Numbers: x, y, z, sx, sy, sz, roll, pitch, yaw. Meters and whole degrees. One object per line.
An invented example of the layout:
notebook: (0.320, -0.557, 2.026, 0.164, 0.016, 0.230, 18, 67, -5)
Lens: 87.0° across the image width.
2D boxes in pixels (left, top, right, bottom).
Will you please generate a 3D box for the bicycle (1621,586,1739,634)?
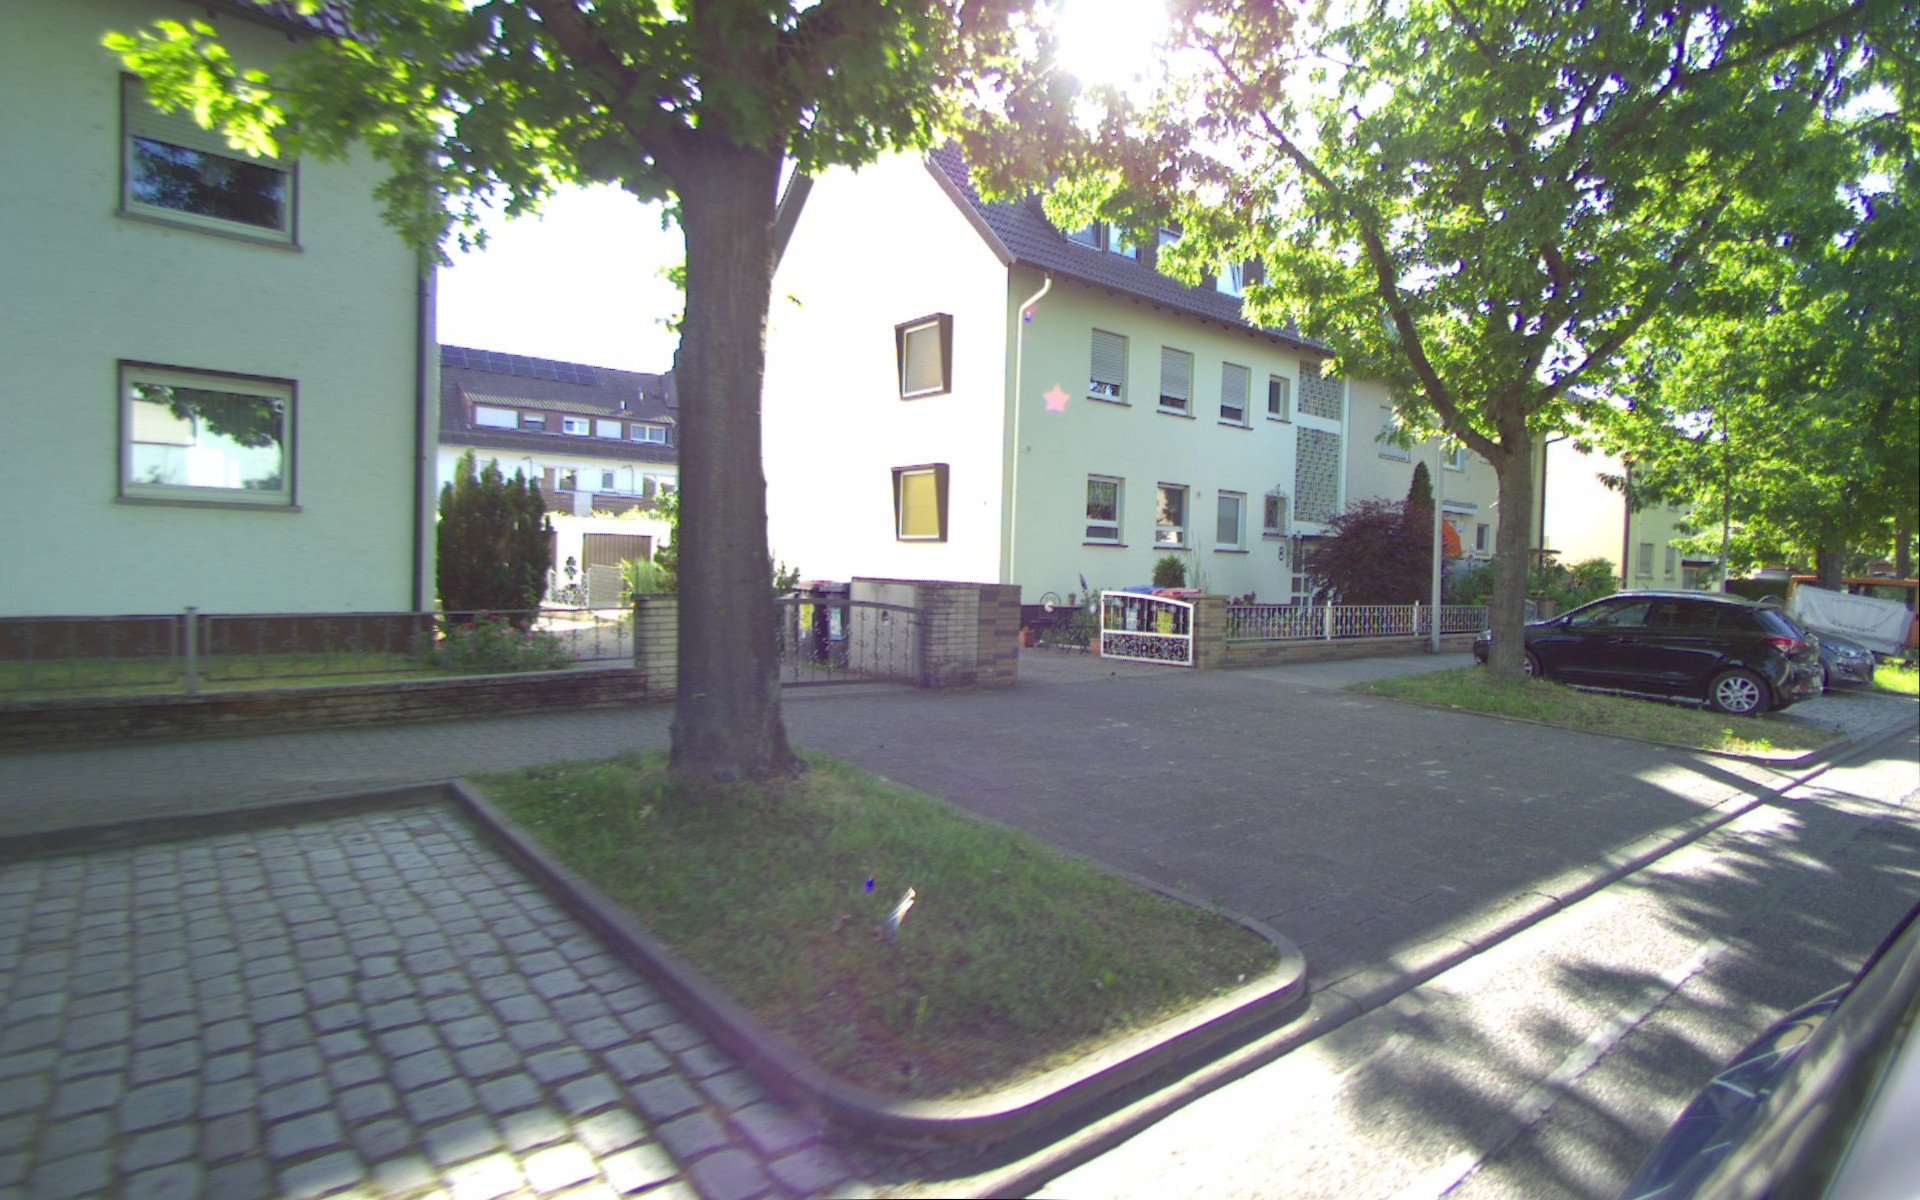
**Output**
bicycle: (21.882, 0.282, 30.838, 0.459, 1.252, 2.868, -1, 4, -37)

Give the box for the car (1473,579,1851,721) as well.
car: (9.337, 0.538, 13.739, 1.631, 1.534, 3.893, -1, 3, -38)

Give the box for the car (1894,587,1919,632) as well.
car: (36.431, 0.464, 36.047, 1.834, 1.579, 4.350, 0, 3, -39)

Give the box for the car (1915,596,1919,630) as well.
car: (40.240, 0.609, 39.233, 1.659, 1.348, 4.443, 0, 2, -35)

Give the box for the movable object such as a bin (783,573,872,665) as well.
movable object such as a bin: (-1.704, 0.220, 12.999, 0.890, 1.112, 0.704, -1, 3, -40)

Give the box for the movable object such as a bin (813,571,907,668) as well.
movable object such as a bin: (-1.225, 0.214, 12.387, 0.890, 1.125, 0.704, -1, 3, -40)

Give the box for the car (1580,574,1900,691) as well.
car: (13.027, 0.443, 17.097, 1.727, 1.643, 3.994, 0, 2, -41)

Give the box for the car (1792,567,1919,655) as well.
car: (24.458, 0.291, 25.647, 2.048, 2.109, 4.832, 0, 2, -38)

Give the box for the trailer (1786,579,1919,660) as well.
trailer: (20.750, 0.409, 22.949, 1.588, 1.684, 2.948, 0, 2, -44)
